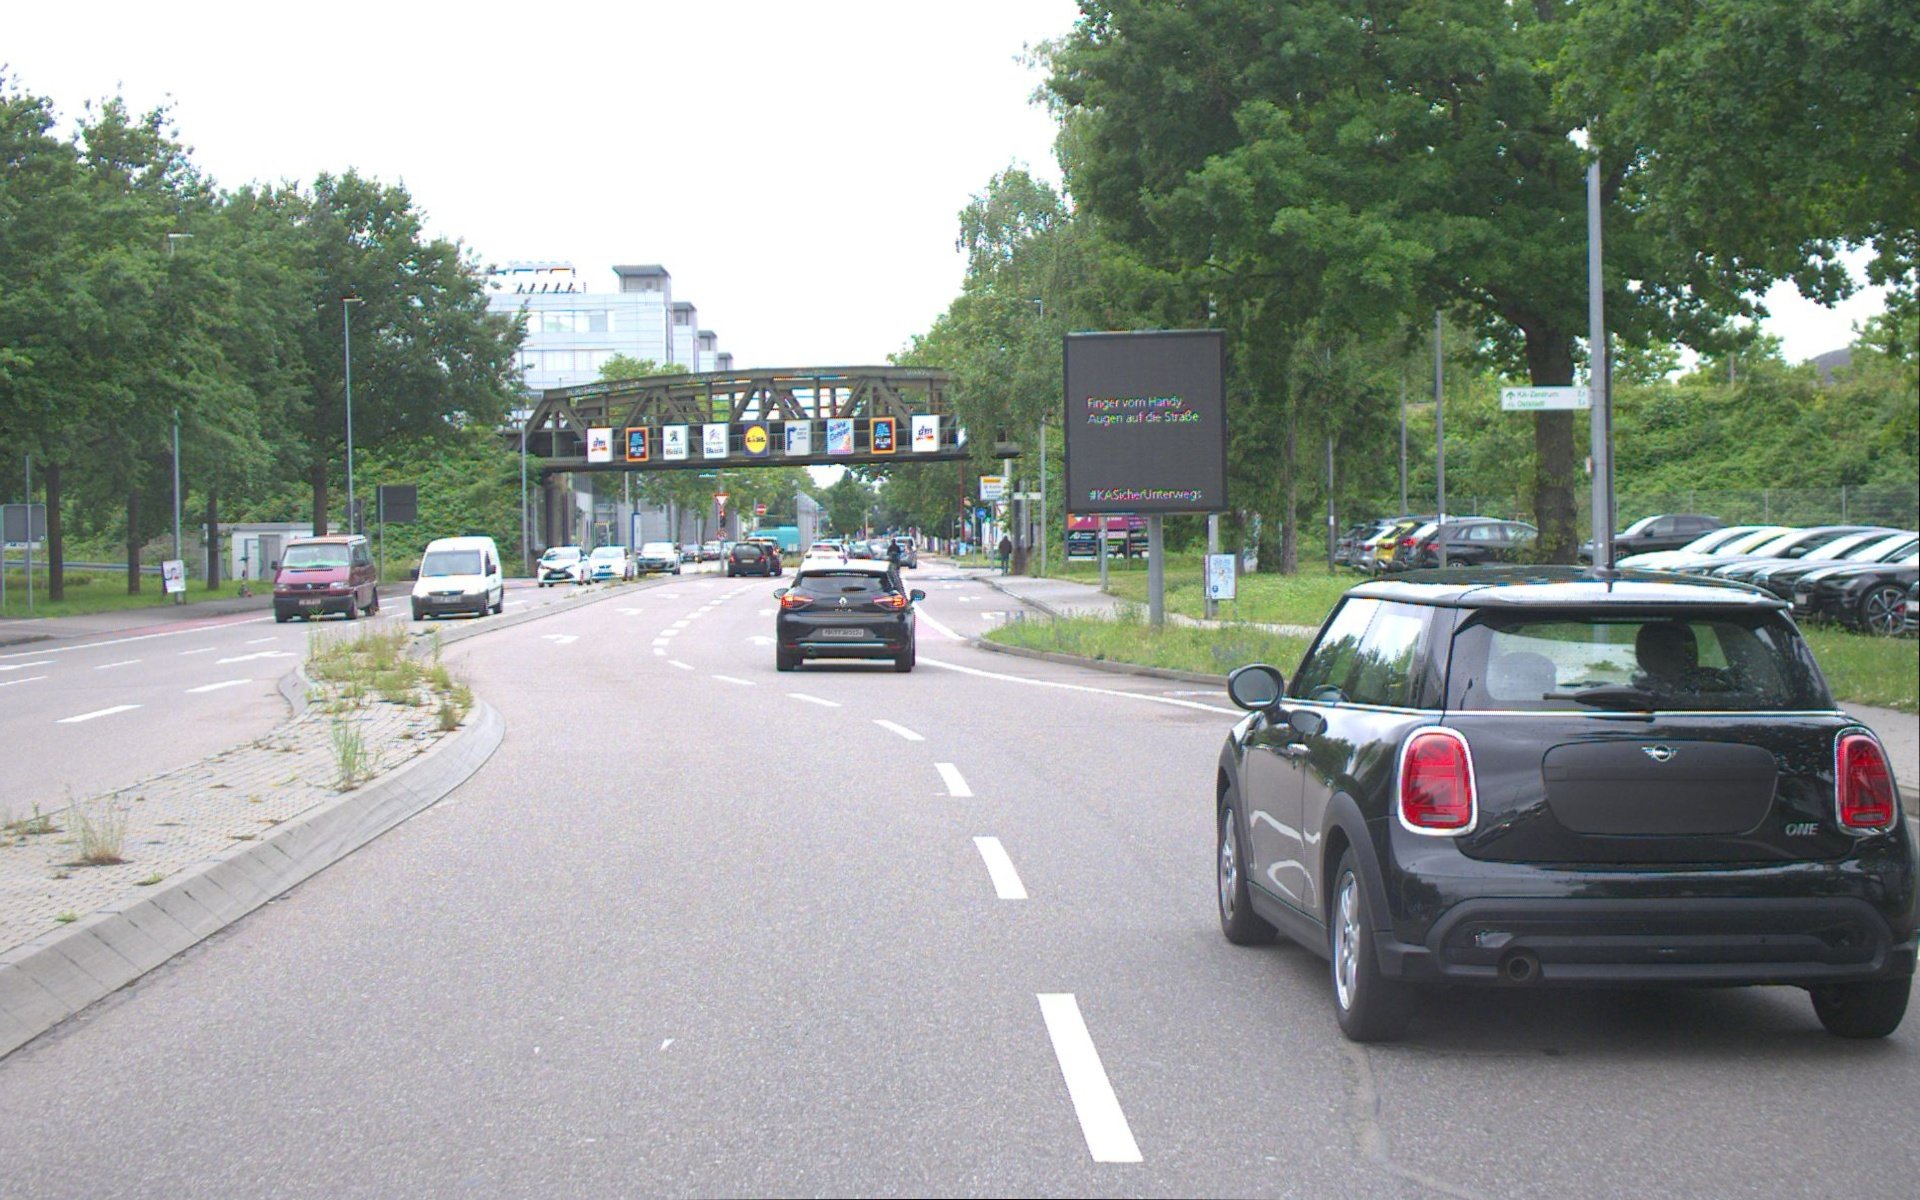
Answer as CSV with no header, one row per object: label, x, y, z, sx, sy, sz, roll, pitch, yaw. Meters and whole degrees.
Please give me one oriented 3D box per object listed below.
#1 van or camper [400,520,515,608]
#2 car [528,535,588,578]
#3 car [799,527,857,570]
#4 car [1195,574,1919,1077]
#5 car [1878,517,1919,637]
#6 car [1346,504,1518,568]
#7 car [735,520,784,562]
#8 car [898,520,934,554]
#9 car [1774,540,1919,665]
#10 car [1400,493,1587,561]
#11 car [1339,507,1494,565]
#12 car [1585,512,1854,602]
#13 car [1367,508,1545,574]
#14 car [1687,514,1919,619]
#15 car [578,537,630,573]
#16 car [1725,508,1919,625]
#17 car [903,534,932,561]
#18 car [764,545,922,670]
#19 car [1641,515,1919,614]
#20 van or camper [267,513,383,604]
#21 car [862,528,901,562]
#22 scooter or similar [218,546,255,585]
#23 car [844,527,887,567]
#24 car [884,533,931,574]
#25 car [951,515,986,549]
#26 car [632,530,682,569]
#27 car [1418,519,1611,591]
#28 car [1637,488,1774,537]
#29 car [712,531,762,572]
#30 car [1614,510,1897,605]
van or camper,-11.103,-0.831,76.265,1.755,1.741,4.407,-4,2,1
car,-14.719,-1.598,125.917,1.754,1.441,3.339,0,3,1
car,-5.440,-2.141,142.142,2.135,1.656,3.782,0,3,1
car,1.889,0.630,11.512,1.785,1.411,3.643,0,0,-3
car,13.218,-0.147,40.297,4.293,1.388,2.000,3,1,0
car,11.228,-1.540,81.971,3.988,1.430,1.730,1,3,6
car,-9.191,-2.721,157.700,1.950,1.809,4.001,0,3,1
car,-2.478,-3.572,194.680,1.950,1.809,4.001,0,3,1
car,13.247,-0.013,45.434,4.445,1.566,2.000,-1,1,-1
car,11.857,-1.632,76.579,3.988,1.430,1.730,1,3,6
car,12.071,-1.708,91.102,3.988,1.430,1.730,1,3,6
car,12.721,-0.735,57.752,4.085,1.430,1.731,0,3,-2
car,11.455,-1.377,79.621,3.988,1.430,1.730,1,3,6
car,13.047,-0.496,50.414,4.343,1.483,1.843,1,1,-1
car,-14.650,-1.862,141.658,1.719,1.366,3.440,0,3,1
car,13.129,-0.438,48.049,4.343,1.498,1.930,3,1,-1
car,-3.079,-3.774,247.880,1.950,1.809,4.001,0,3,1
car,-1.465,0.057,44.314,1.757,1.429,4.000,-1,2,2
car,12.754,-0.559,53.029,4.085,1.430,1.822,0,3,-2
van or camper,-14.737,-0.998,80.009,1.875,1.979,4.890,-2,2,-2
car,-4.145,-2.943,182.098,1.884,1.656,3.782,0,3,1
scooter or similar,-21.802,-1.032,103.584,0.762,1.086,2.007,0,3,-2
car,-4.687,-2.652,171.478,1.950,1.809,4.001,0,3,1
car,-2.299,-2.072,151.485,1.884,1.656,3.782,0,3,1
car,0.511,-4.032,203.421,1.950,1.809,4.001,0,3,1
car,-14.378,-2.403,163.306,1.940,1.670,3.782,0,3,1
car,11.920,-0.984,74.127,3.988,1.430,1.730,1,3,6
car,23.230,-2.741,107.246,3.988,1.430,1.730,1,3,6
car,-9.783,-2.137,150.888,1.884,1.656,3.782,0,3,1
car,12.793,-0.695,55.434,4.085,1.430,1.847,0,3,-2
